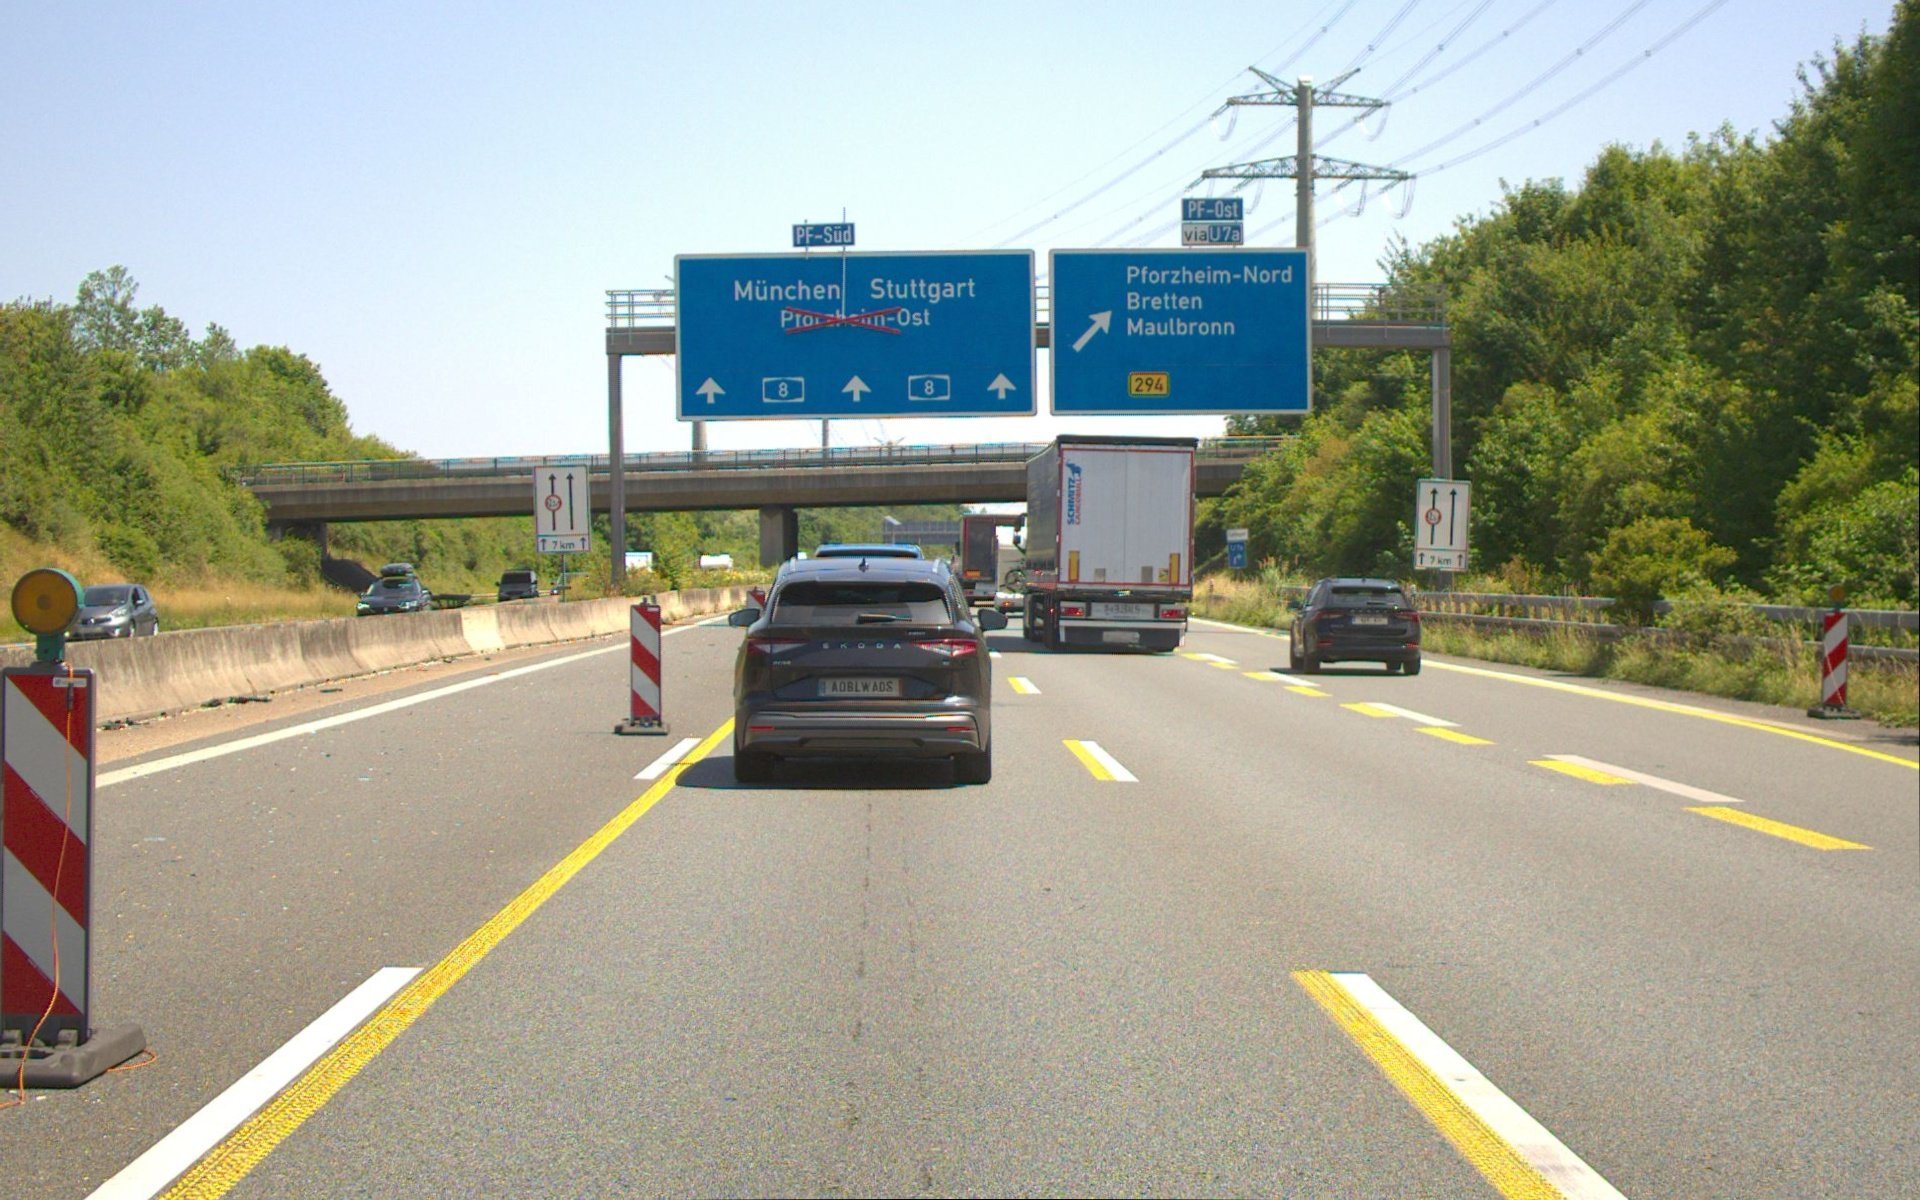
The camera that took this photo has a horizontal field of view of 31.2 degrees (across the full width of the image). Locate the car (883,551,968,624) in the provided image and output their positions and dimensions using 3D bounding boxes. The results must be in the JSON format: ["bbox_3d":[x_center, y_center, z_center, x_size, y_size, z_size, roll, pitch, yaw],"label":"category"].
[{"bbox_3d":[-0.853,-0.331,82.406,1.895,1.504,4.443,3,2,-2],"label":"car"}]

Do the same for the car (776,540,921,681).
[{"bbox_3d":[-1.623,0.154,50.161,1.895,1.835,4.442,4,0,-2],"label":"car"}]

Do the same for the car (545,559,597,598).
[{"bbox_3d":[-17.651,-0.977,156.337,1.913,1.747,4.566,0,1,-1],"label":"car"}]

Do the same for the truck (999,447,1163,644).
[{"bbox_3d":[2.579,-1.191,75.755,3.024,4.073,7.796,1,1,-2],"label":"truck"}]

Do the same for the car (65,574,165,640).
[{"bbox_3d":[-20.761,0.157,84.592,1.499,1.543,4.000,-1,1,0],"label":"car"}]

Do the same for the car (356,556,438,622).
[{"bbox_3d":[-15.877,-0.326,97.138,1.741,1.812,4.623,-1,1,-3],"label":"car"}]

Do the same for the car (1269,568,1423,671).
[{"bbox_3d":[5.971,0.273,53.606,1.779,1.484,4.464,1,1,-1],"label":"car"}]

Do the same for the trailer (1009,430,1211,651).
[{"bbox_3d":[2.829,-1.158,68.793,3.065,4.029,11.489,0,1,-2],"label":"trailer"}]

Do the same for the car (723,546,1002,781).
[{"bbox_3d":[-0.733,0.398,25.592,1.895,1.586,4.443,0,1,-2],"label":"car"}]

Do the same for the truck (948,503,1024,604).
[{"bbox_3d":[1.108,-2.002,149.758,3.078,4.132,13.054,1,1,0],"label":"truck"}]

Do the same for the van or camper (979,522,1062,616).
[{"bbox_3d":[1.977,-1.051,113.801,2.586,2.958,6.085,2,1,0],"label":"van or camper"}]
